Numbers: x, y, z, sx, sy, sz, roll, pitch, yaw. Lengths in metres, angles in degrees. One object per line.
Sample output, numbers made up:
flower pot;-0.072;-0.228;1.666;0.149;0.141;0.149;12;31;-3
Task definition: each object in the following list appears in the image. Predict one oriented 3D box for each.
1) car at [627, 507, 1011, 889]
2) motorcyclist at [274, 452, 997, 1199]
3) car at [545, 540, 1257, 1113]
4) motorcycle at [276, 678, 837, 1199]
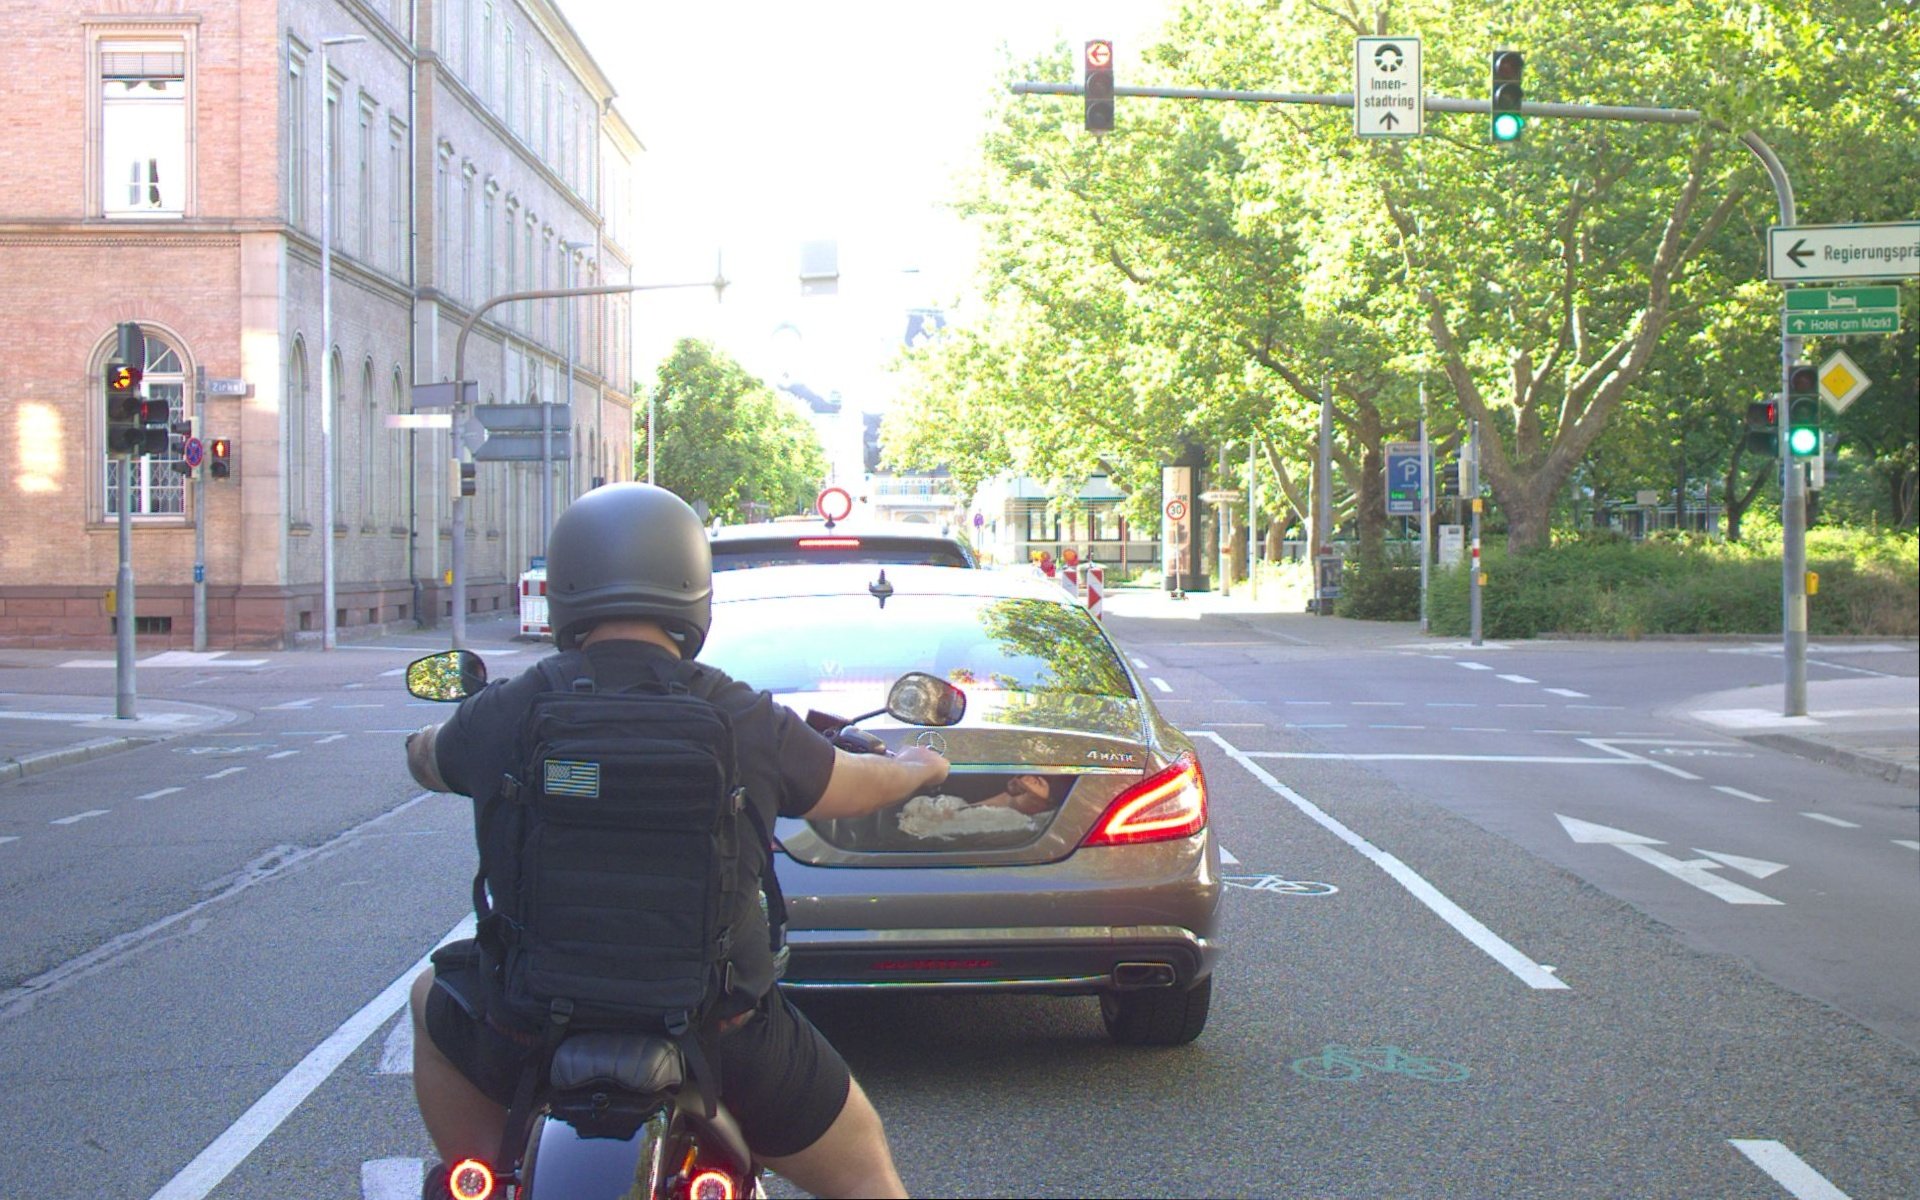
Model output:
car;-0.633;0.407;16.988;1.651;1.646;4.000;1;1;-1
motorcyclist;-0.461;0.599;5.342;0.990;1.605;1.120;1;0;-1
car;-0.402;0.571;11.142;1.824;1.481;4.334;1;1;-7
motorcycle;-0.558;0.779;5.437;0.660;1.236;2.058;1;1;-1
